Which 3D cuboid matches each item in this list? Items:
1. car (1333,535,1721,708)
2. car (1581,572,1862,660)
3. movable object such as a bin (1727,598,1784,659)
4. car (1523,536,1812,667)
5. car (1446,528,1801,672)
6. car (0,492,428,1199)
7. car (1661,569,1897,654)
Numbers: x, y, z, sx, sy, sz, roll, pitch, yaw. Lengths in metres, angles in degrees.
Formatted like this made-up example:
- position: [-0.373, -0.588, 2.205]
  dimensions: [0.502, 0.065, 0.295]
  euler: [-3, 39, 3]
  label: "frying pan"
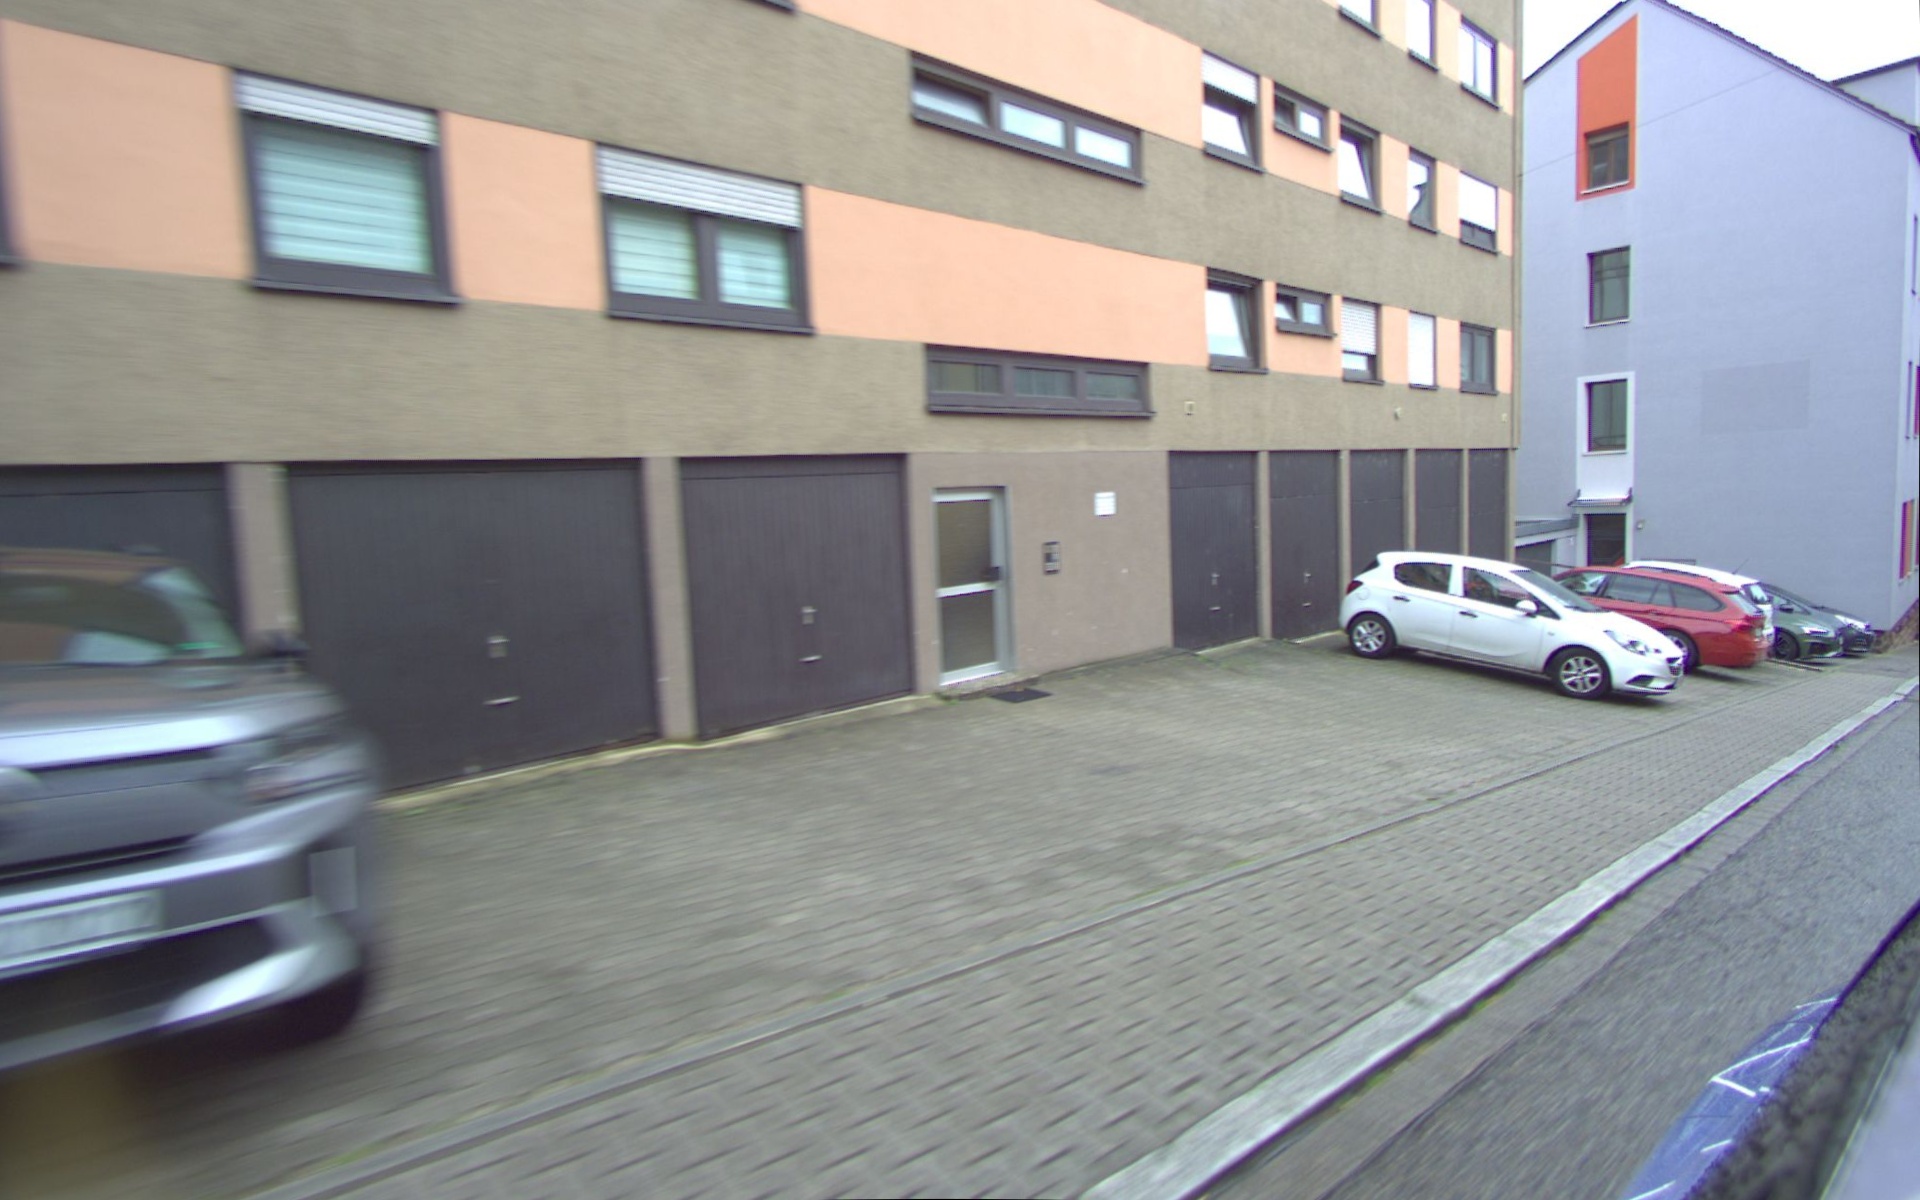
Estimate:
- position: [7.164, 0.142, 13.080]
  dimensions: [3.968, 1.547, 1.665]
  euler: [11, 8, 44]
  label: "car"
- position: [15.304, 0.246, 20.511]
  dimensions: [1.862, 1.484, 4.274]
  euler: [0, 3, -43]
  label: "car"
- position: [14.561, 0.503, 18.521]
  dimensions: [0.759, 1.033, 0.723]
  euler: [-3, 3, -43]
  label: "movable object such as a bin"
- position: [12.595, -0.060, 18.189]
  dimensions: [1.699, 1.721, 3.836]
  euler: [0, 8, -43]
  label: "car"
- position: [10.582, -0.111, 16.414]
  dimensions: [1.845, 1.546, 4.354]
  euler: [0, 9, -43]
  label: "car"
- position: [-3.383, 0.560, 3.425]
  dimensions: [1.731, 1.515, 4.201]
  euler: [0, 0, -44]
  label: "car"
- position: [17.961, 0.188, 22.310]
  dimensions: [1.632, 1.569, 3.808]
  euler: [0, 3, -43]
  label: "car"
